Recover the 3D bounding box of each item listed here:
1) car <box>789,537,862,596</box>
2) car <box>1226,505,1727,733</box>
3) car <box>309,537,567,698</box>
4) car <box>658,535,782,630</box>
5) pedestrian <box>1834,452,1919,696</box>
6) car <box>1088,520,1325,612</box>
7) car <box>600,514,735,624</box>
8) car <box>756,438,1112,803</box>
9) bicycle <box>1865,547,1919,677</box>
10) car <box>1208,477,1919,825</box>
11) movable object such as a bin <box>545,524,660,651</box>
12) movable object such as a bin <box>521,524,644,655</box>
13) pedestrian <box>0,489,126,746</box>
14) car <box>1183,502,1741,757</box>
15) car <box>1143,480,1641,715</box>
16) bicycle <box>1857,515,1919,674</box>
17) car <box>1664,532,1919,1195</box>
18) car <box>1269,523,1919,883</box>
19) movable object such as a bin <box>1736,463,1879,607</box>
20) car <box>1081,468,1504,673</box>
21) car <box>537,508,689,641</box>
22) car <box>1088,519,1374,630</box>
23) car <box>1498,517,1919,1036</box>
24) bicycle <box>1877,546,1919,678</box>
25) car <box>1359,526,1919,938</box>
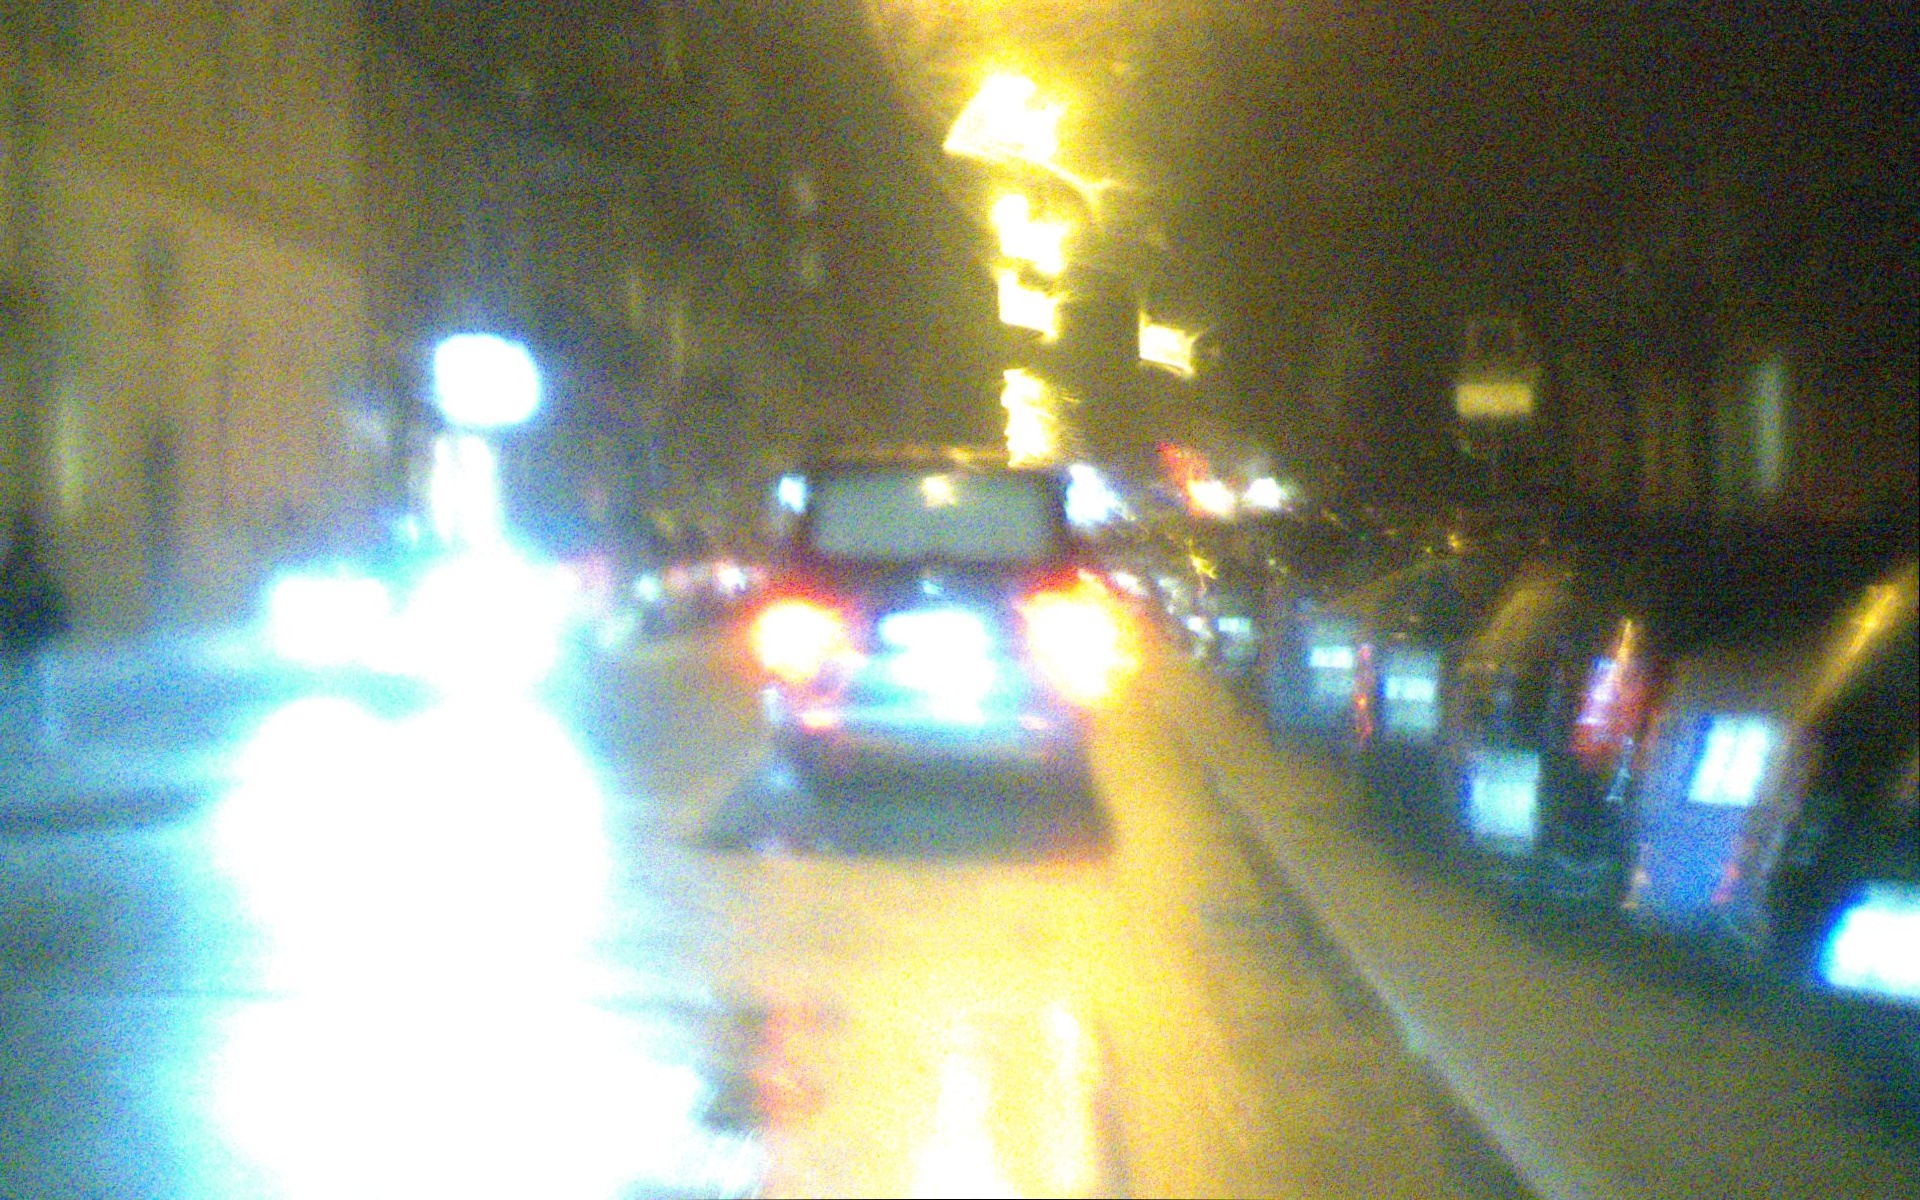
[{"bbox_3d":[-3.501,-0.900,90.030,1.587,1.477,3.793,1,1,2],"label":"car"},{"bbox_3d":[4.185,0.119,27.734,3.762,1.722,1.717,0,1,-32],"label":"car"},{"bbox_3d":[-4.691,0.110,31.412,1.654,1.354,4.222,0,1,1],"label":"car"},{"bbox_3d":[-3.949,-0.320,57.101,1.686,1.450,4.316,1,2,1],"label":"car"},{"bbox_3d":[7.383,-0.218,26.553,0.838,1.829,0.947,-5,0,-2],"label":"pedestrian"},{"bbox_3d":[4.216,-0.587,58.825,3.671,1.455,1.604,-2,1,-22],"label":"car"},{"bbox_3d":[-4.375,-0.501,51.869,1.603,1.547,4.025,1,2,1],"label":"car"},{"bbox_3d":[-0.108,0.096,21.362,1.993,2.043,4.000,0,0,1],"label":"car"},{"bbox_3d":[8.635,0.055,28.739,1.971,1.051,0.510,-3,1,-5],"label":"bicycle"},{"bbox_3d":[3.632,0.245,18.975,4.092,1.758,1.859,0,1,-21],"label":"car"},{"bbox_3d":[-4.242,-0.158,40.917,1.165,1.454,1.107,2,1,3],"label":"movable object such as a bin"},{"bbox_3d":[-4.357,-0.128,39.726,1.208,1.454,1.107,2,1,3],"label":"movable object such as a bin"},{"bbox_3d":[-6.535,0.112,24.183,1.132,1.776,0.788,0,1,1],"label":"pedestrian"},{"bbox_3d":[3.677,0.163,25.026,3.791,1.722,1.741,-1,2,-33],"label":"car"},{"bbox_3d":[3.871,-0.053,30.524,4.234,1.852,1.717,-3,1,-34],"label":"car"},{"bbox_3d":[8.827,-0.088,29.640,1.972,1.330,0.782,-3,1,8],"label":"bicycle"},{"bbox_3d":[3.840,0.534,8.720,3.699,1.517,1.657,-3,1,-24],"label":"car"},{"bbox_3d":[3.500,0.450,16.779,3.553,1.605,1.713,0,1,-20],"label":"car"},{"bbox_3d":[9.145,-0.703,37.132,1.209,1.446,0.999,-5,1,2],"label":"movable object such as a bin"},{"bbox_3d":[3.904,-0.377,40.015,4.711,2.240,1.946,-2,1,-35],"label":"car"},{"bbox_3d":[-4.614,-0.364,46.115,1.603,1.700,3.721,0,1,1],"label":"car"},{"bbox_3d":[4.089,-0.398,51.648,3.987,1.547,1.804,-2,1,-34],"label":"car"},{"bbox_3d":[3.884,0.457,11.688,3.699,1.517,1.657,-3,1,-24],"label":"car"},{"bbox_3d":[8.590,0.050,28.180,1.971,1.051,0.510,-3,1,-5],"label":"bicycle"},{"bbox_3d":[3.367,0.491,14.218,3.038,1.546,1.505,0,1,-20],"label":"car"}]
